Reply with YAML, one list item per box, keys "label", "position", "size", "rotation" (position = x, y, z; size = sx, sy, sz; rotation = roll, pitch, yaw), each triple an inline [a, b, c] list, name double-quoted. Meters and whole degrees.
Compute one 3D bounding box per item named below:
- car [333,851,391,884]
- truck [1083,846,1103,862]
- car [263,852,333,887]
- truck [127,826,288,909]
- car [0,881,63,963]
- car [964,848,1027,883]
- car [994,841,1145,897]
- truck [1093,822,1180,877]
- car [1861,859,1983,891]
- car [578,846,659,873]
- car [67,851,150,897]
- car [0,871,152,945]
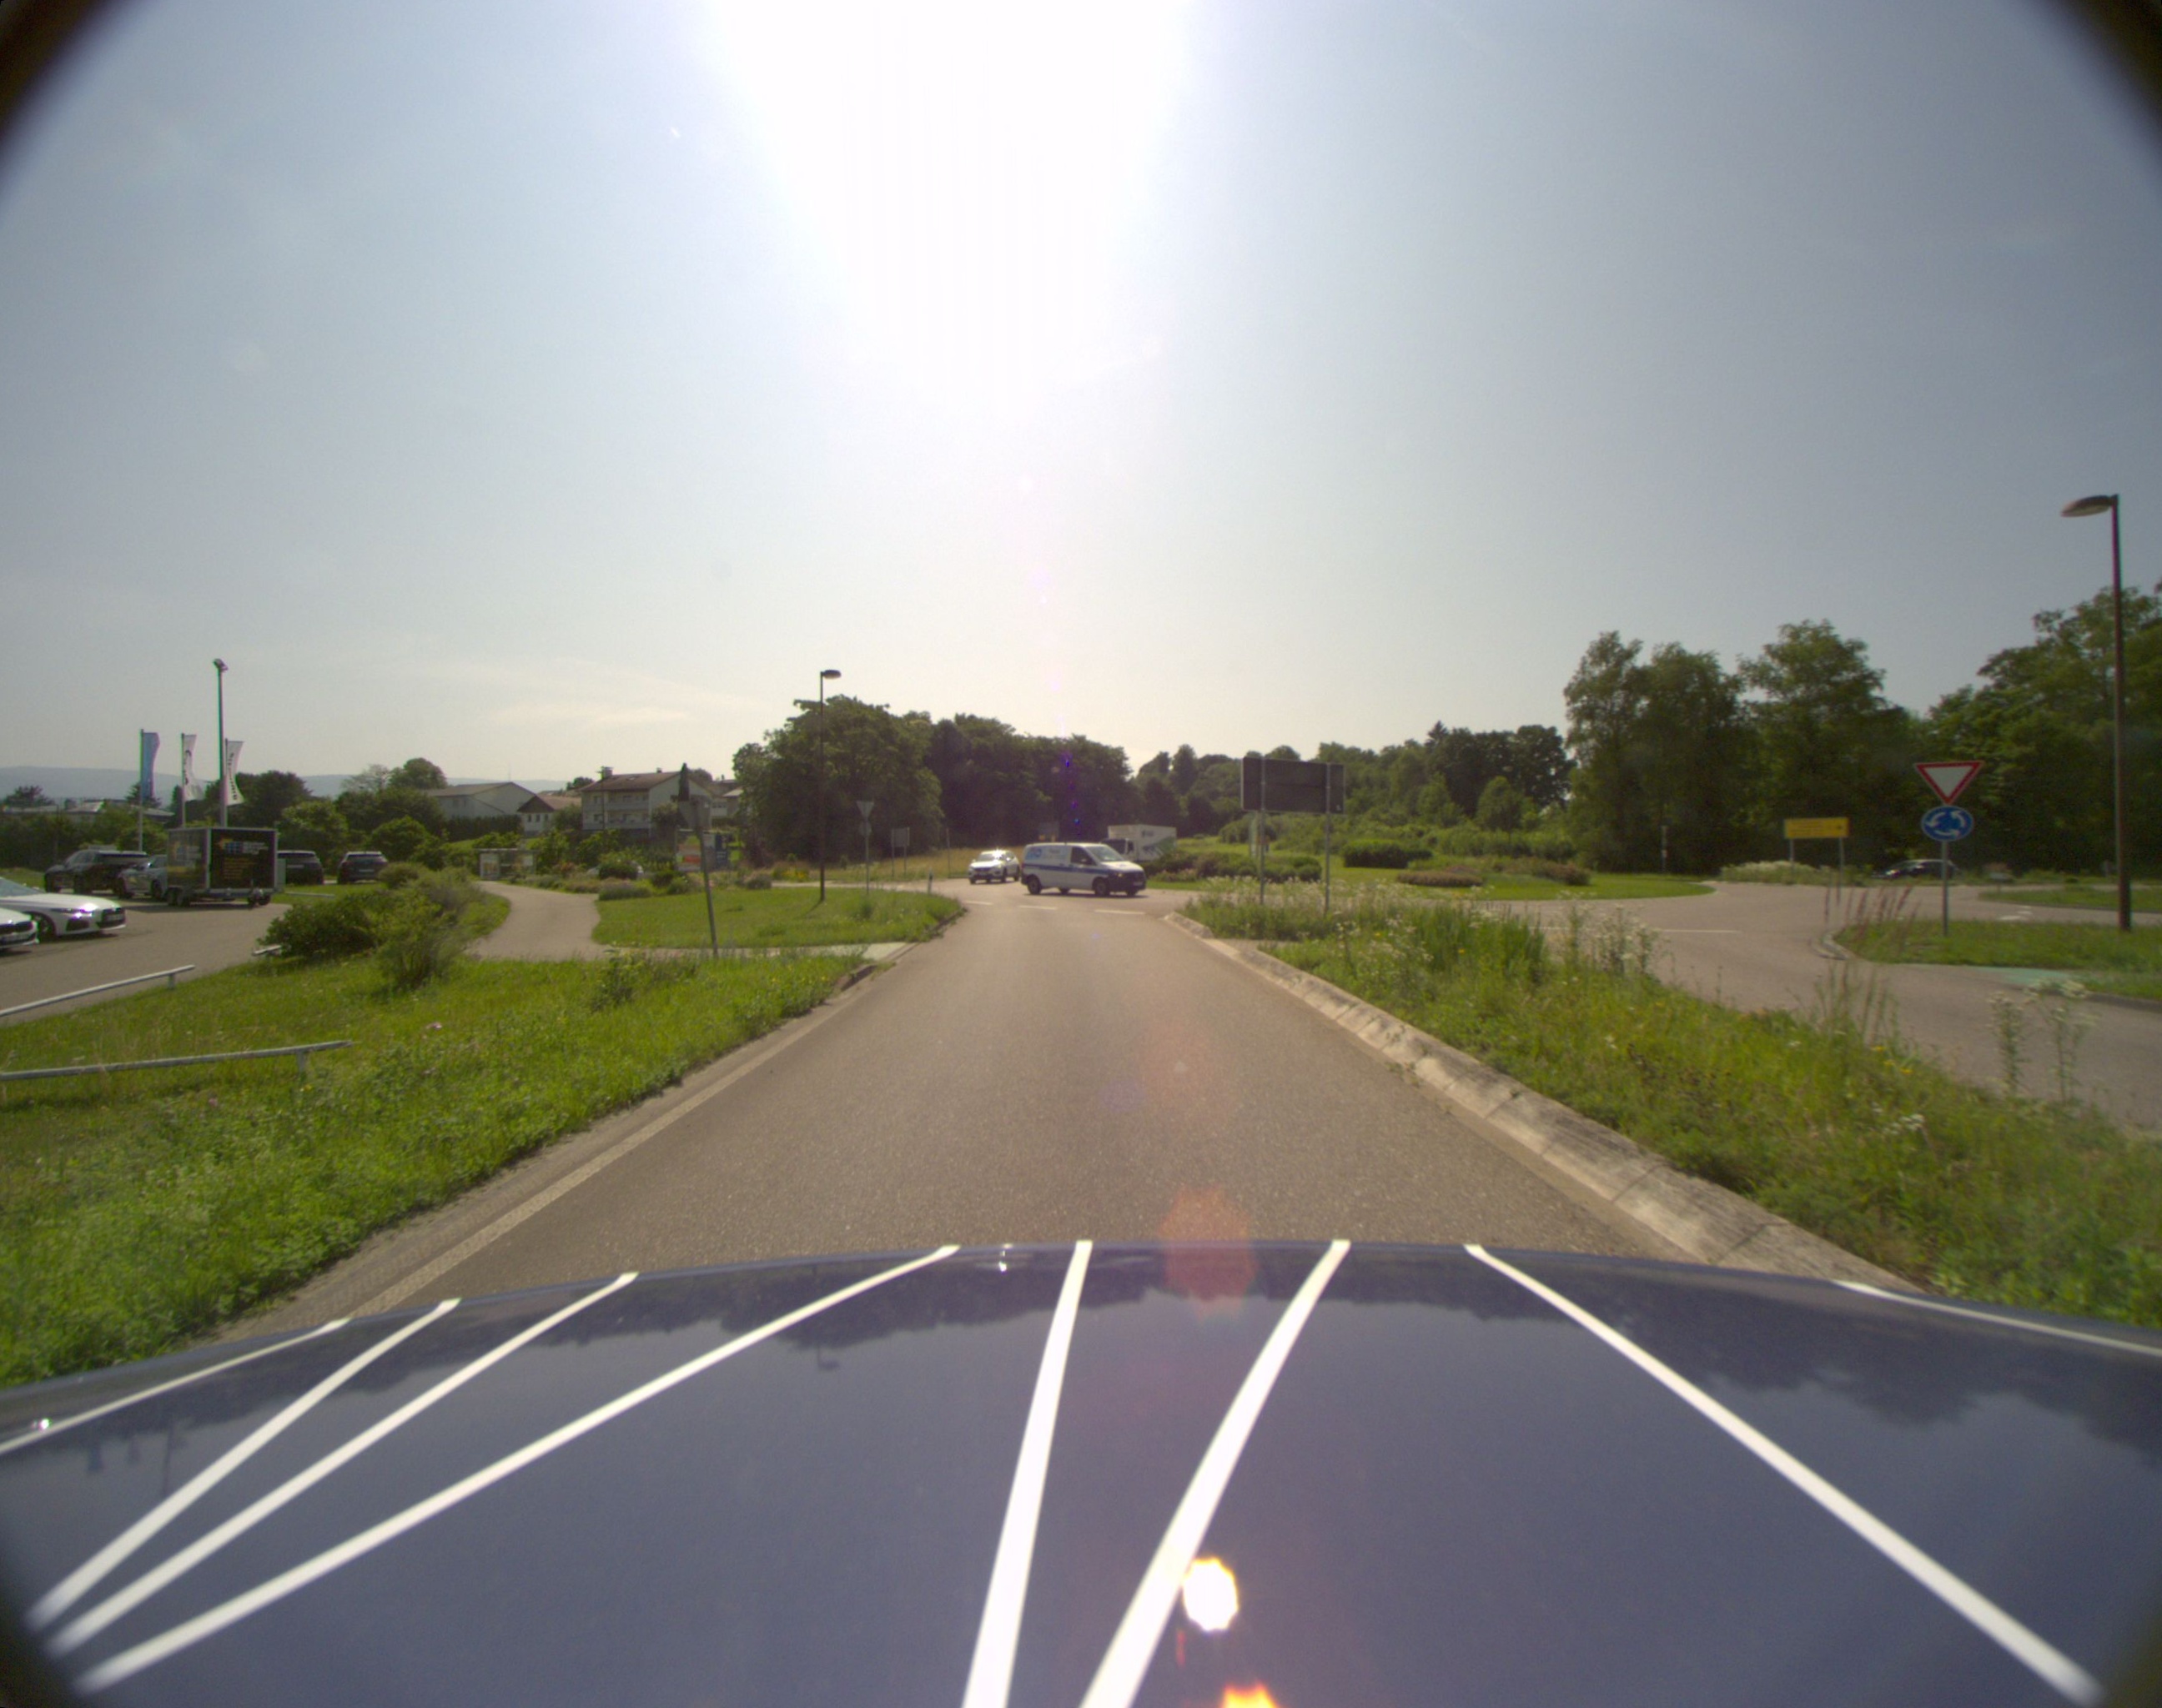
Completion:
- label: "car"
  position: [-35.795, 0.634, 37.926]
  size: [1.914, 1.504, 4.363]
  rotation: [0, 0, -41]
- label: "truck"
  position: [1.655, -0.028, 101.364]
  size: [2.360, 2.002, 5.440]
  rotation: [-1, 1, 3]
- label: "car"
  position: [-36.664, 0.675, 35.669]
  size: [1.914, 1.504, 4.363]
  rotation: [0, 0, -41]
- label: "truck"
  position: [-30.301, 0.404, 26.334]
  size: [5.613, 2.649, 1.953]
  rotation: [1, 0, 22]
- label: "car"
  position: [-24.068, 1.373, 14.995]
  size: [4.581, 1.562, 1.765]
  rotation: [1, 2, -17]
- label: "car"
  position: [-4.387, 0.556, 39.809]
  size: [2.195, 1.642, 5.123]
  rotation: [-2, 0, 5]
- label: "car"
  position: [-0.444, 0.542, 28.026]
  size: [5.218, 1.927, 1.863]
  rotation: [-1, 1, 22]
- label: "truck"
  position: [4.415, -0.410, 57.495]
  size: [2.892, 3.807, 9.039]
  rotation: [-1, 1, 30]
- label: "car"
  position: [48.372, 1.190, 43.786]
  size: [4.633, 1.643, 2.030]
  rotation: [-2, 1, 4]
- label: "car"
  position: [-31.085, 0.377, 51.123]
  size: [4.194, 1.606, 2.130]
  rotation: [-2, -1, 7]
- label: "car"
  position: [-38.136, 0.721, 29.804]
  size: [3.808, 1.671, 1.914]
  rotation: [1, 0, 37]
- label: "car"
  position: [-25.355, 1.215, 17.517]
  size: [4.672, 1.561, 1.765]
  rotation: [3, 0, -23]
